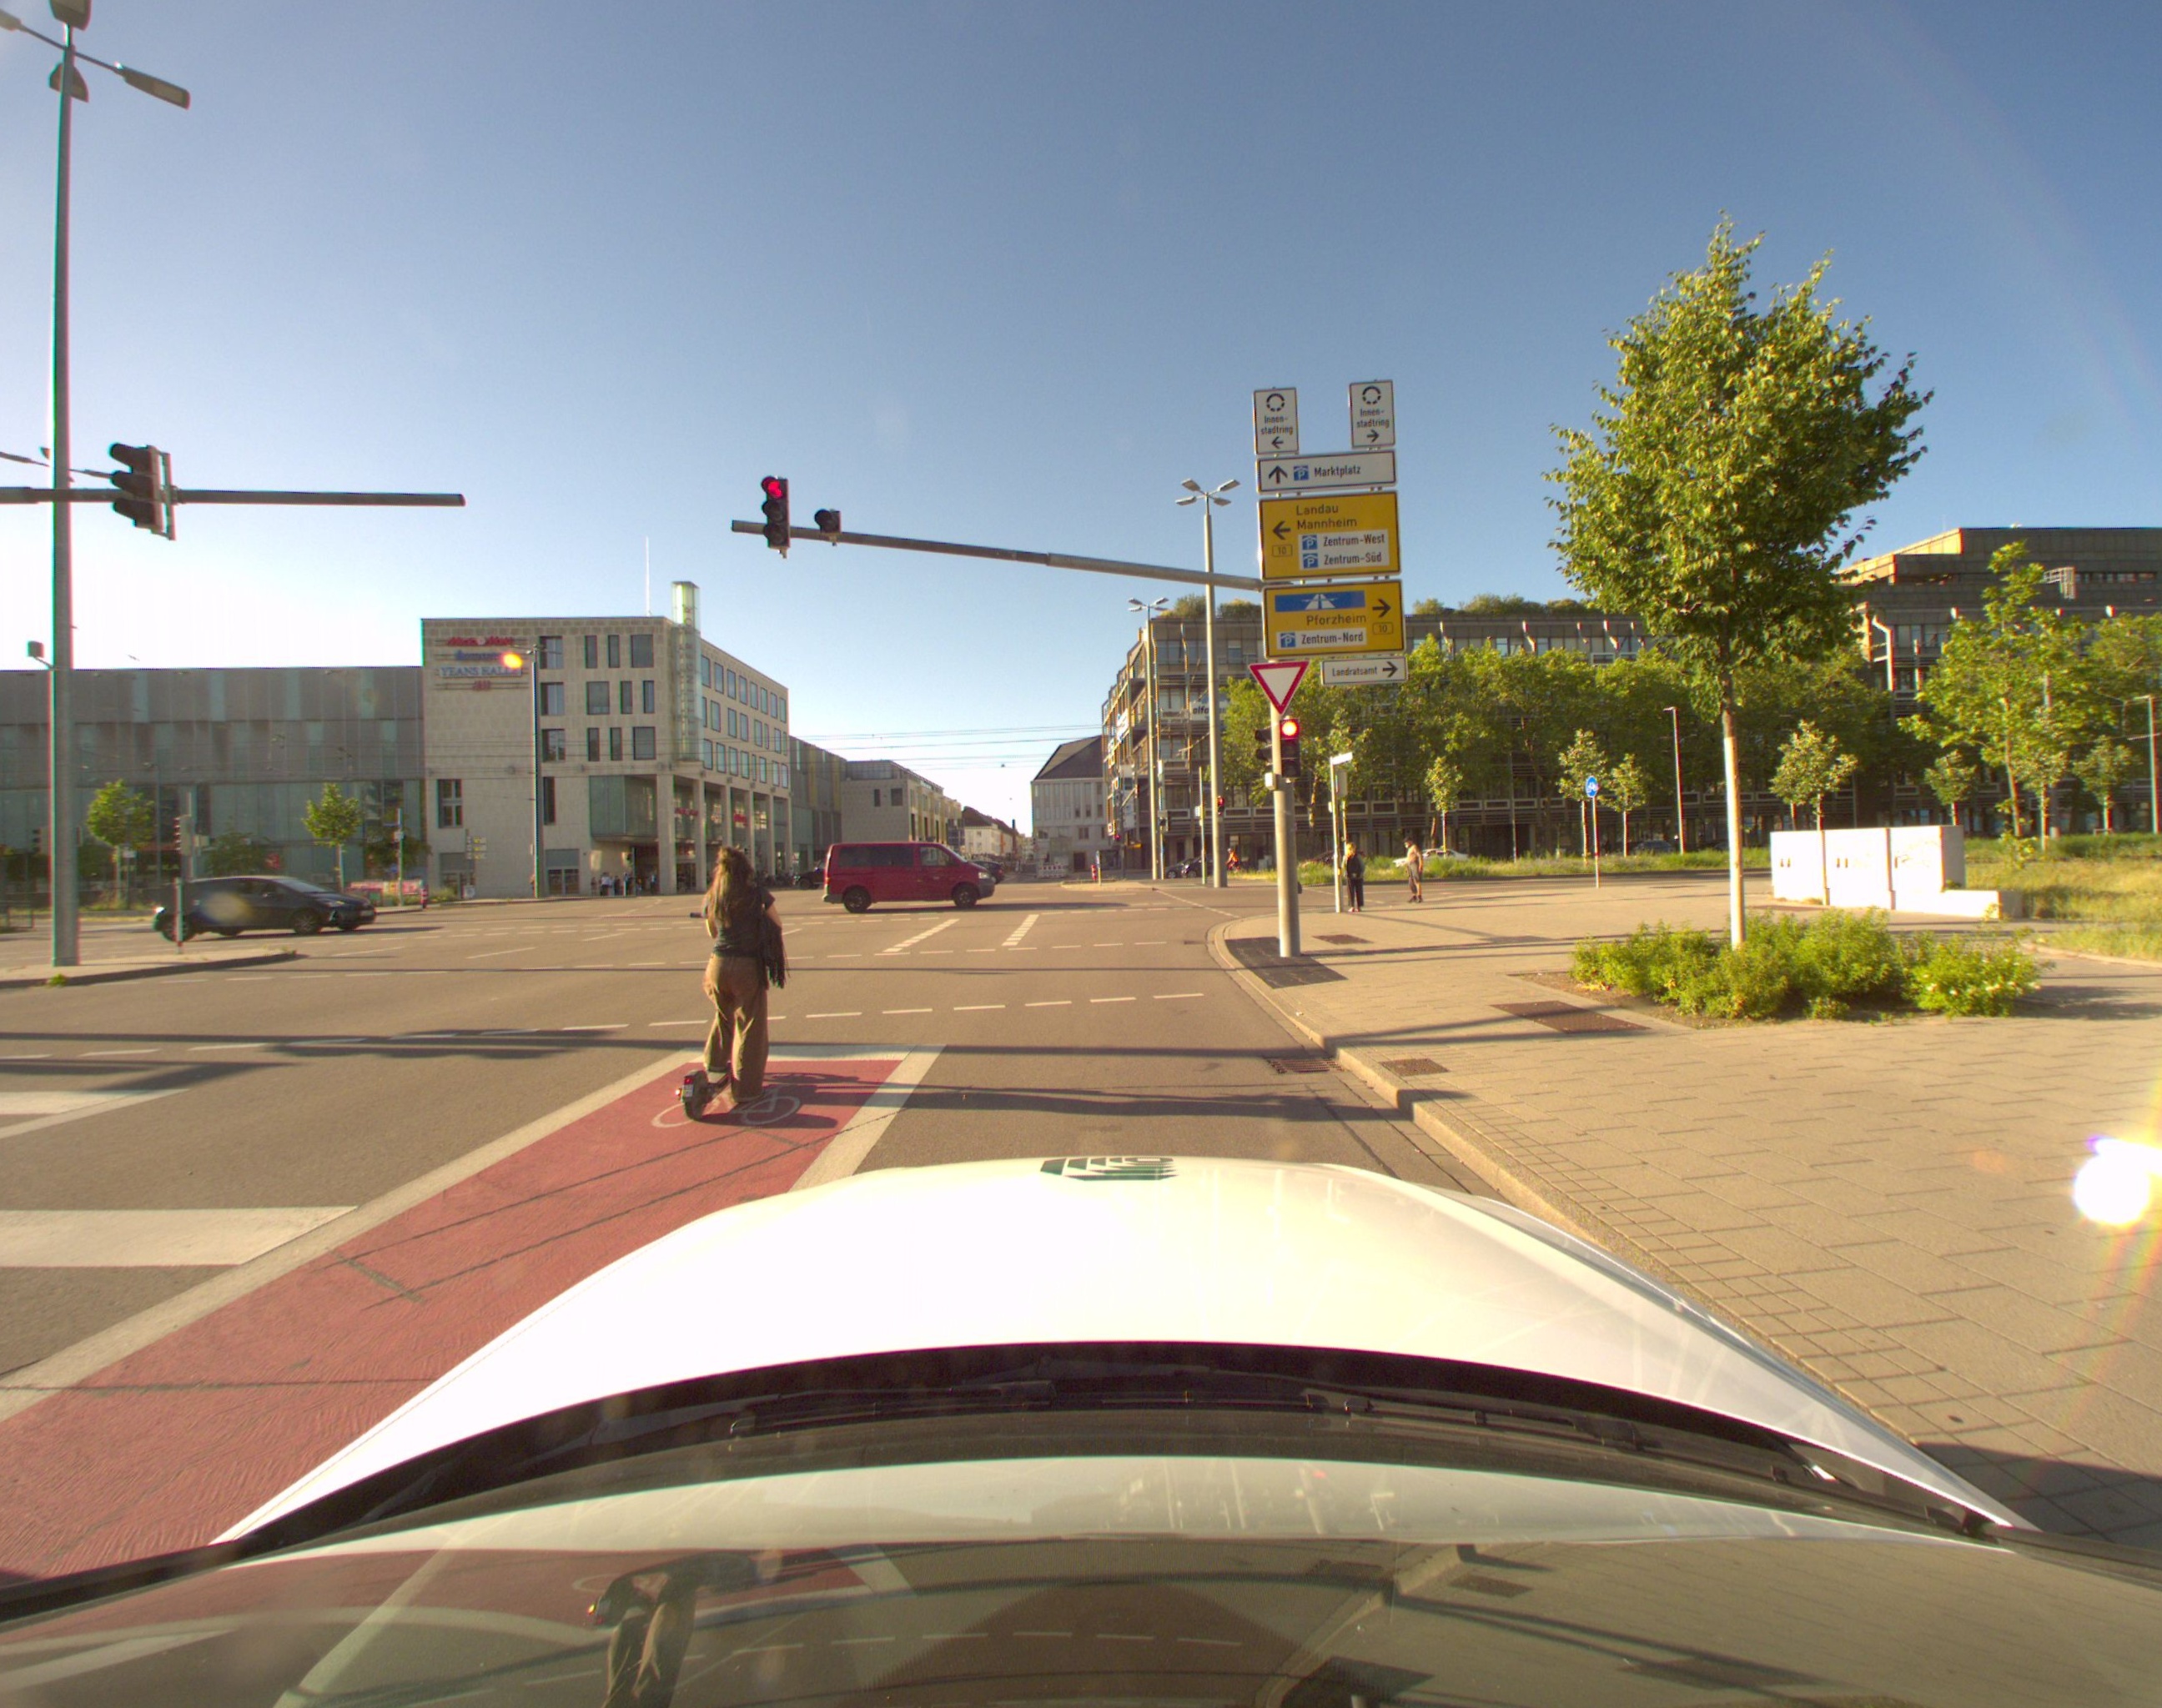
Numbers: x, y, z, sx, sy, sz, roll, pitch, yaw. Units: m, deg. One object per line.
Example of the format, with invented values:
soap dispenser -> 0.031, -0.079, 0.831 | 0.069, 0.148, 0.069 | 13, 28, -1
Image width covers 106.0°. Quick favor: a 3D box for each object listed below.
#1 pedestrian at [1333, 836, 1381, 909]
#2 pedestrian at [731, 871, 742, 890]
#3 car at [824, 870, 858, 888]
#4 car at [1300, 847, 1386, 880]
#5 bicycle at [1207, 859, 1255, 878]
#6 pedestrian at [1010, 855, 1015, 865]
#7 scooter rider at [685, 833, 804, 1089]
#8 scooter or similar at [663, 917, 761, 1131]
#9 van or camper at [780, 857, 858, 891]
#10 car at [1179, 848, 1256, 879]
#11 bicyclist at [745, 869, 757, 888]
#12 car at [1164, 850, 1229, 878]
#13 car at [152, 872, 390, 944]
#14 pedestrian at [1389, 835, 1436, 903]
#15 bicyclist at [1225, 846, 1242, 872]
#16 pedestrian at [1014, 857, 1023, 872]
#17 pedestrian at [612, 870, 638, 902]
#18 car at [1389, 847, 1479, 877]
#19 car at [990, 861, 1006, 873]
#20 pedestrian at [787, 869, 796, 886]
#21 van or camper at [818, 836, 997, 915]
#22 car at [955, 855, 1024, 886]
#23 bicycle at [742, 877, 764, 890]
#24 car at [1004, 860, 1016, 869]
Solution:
pedestrian -> 6.384, 0.415, 18.866 | 0.763, 1.614, 0.874 | -2, 0, 0
pedestrian -> -29.998, 2.304, 70.885 | 0.590, 1.646, 0.629 | -2, 0, 1
car -> -20.736, 2.136, 70.423 | 1.670, 1.357, 4.021 | -2, 0, 1
car -> 14.876, 0.520, 46.274 | 4.287, 1.684, 1.820 | -2, 0, -9
bicycle -> 8.678, 0.823, 47.059 | 2.561, 0.975, 1.047 | -2, 0, -1
pedestrian -> -13.903, 1.194, 165.267 | 0.907, 1.965, 0.823 | 0, -1, 1
scooter rider -> -2.121, 0.646, 5.182 | 0.552, 1.530, 0.448 | -2, 0, -7
scooter or similar -> -2.206, 0.971, 4.925 | 0.306, 1.107, 0.835 | -2, 0, -9
van or camper -> -17.044, 1.283, 53.106 | 4.404, 2.013, 1.993 | -2, 0, -3
car -> 8.411, 0.576, 50.509 | 4.392, 1.684, 1.824 | -2, 0, -2
bicyclist -> -25.680, 1.902, 63.448 | 0.623, 1.448, 0.589 | -2, 0, 3
car -> 7.564, 0.650, 53.463 | 3.976, 1.684, 1.824 | -2, 0, -2
car -> -20.102, 1.295, 20.388 | 3.865, 1.510, 1.664 | -2, 0, -13
pedestrian -> 8.596, 0.380, 21.147 | 0.869, 1.706, 0.768 | -2, 0, 0
bicyclist -> 8.823, 0.309, 47.076 | 0.820, 1.474, 0.652 | -2, 0, -2
pedestrian -> -7.231, 1.210, 94.849 | 0.896, 1.782, 0.809 | -2, 0, 1
pedestrian -> -25.138, 1.766, 44.914 | 0.821, 1.675, 1.004 | -2, 0, -2
car -> 22.198, 0.519, 51.334 | 4.831, 1.684, 1.824 | -2, 0, -2
car -> -11.017, 1.753, 108.532 | 1.652, 1.458, 3.543 | -2, 0, 2
pedestrian -> -30.631, 2.464, 86.146 | 0.465, 1.729, 0.699 | -1, -1, 40
van or camper -> -4.960, 0.586, 23.648 | 4.830, 2.013, 1.999 | -2, 0, -12
car -> -5.587, 1.001, 50.113 | 3.973, 1.684, 1.761 | -2, 0, 0
bicycle -> -25.645, 2.330, 63.688 | 0.633, 0.903, 2.220 | -2, 0, 3
car -> -12.793, 1.868, 146.261 | 1.652, 1.458, 3.543 | -2, 0, 2
